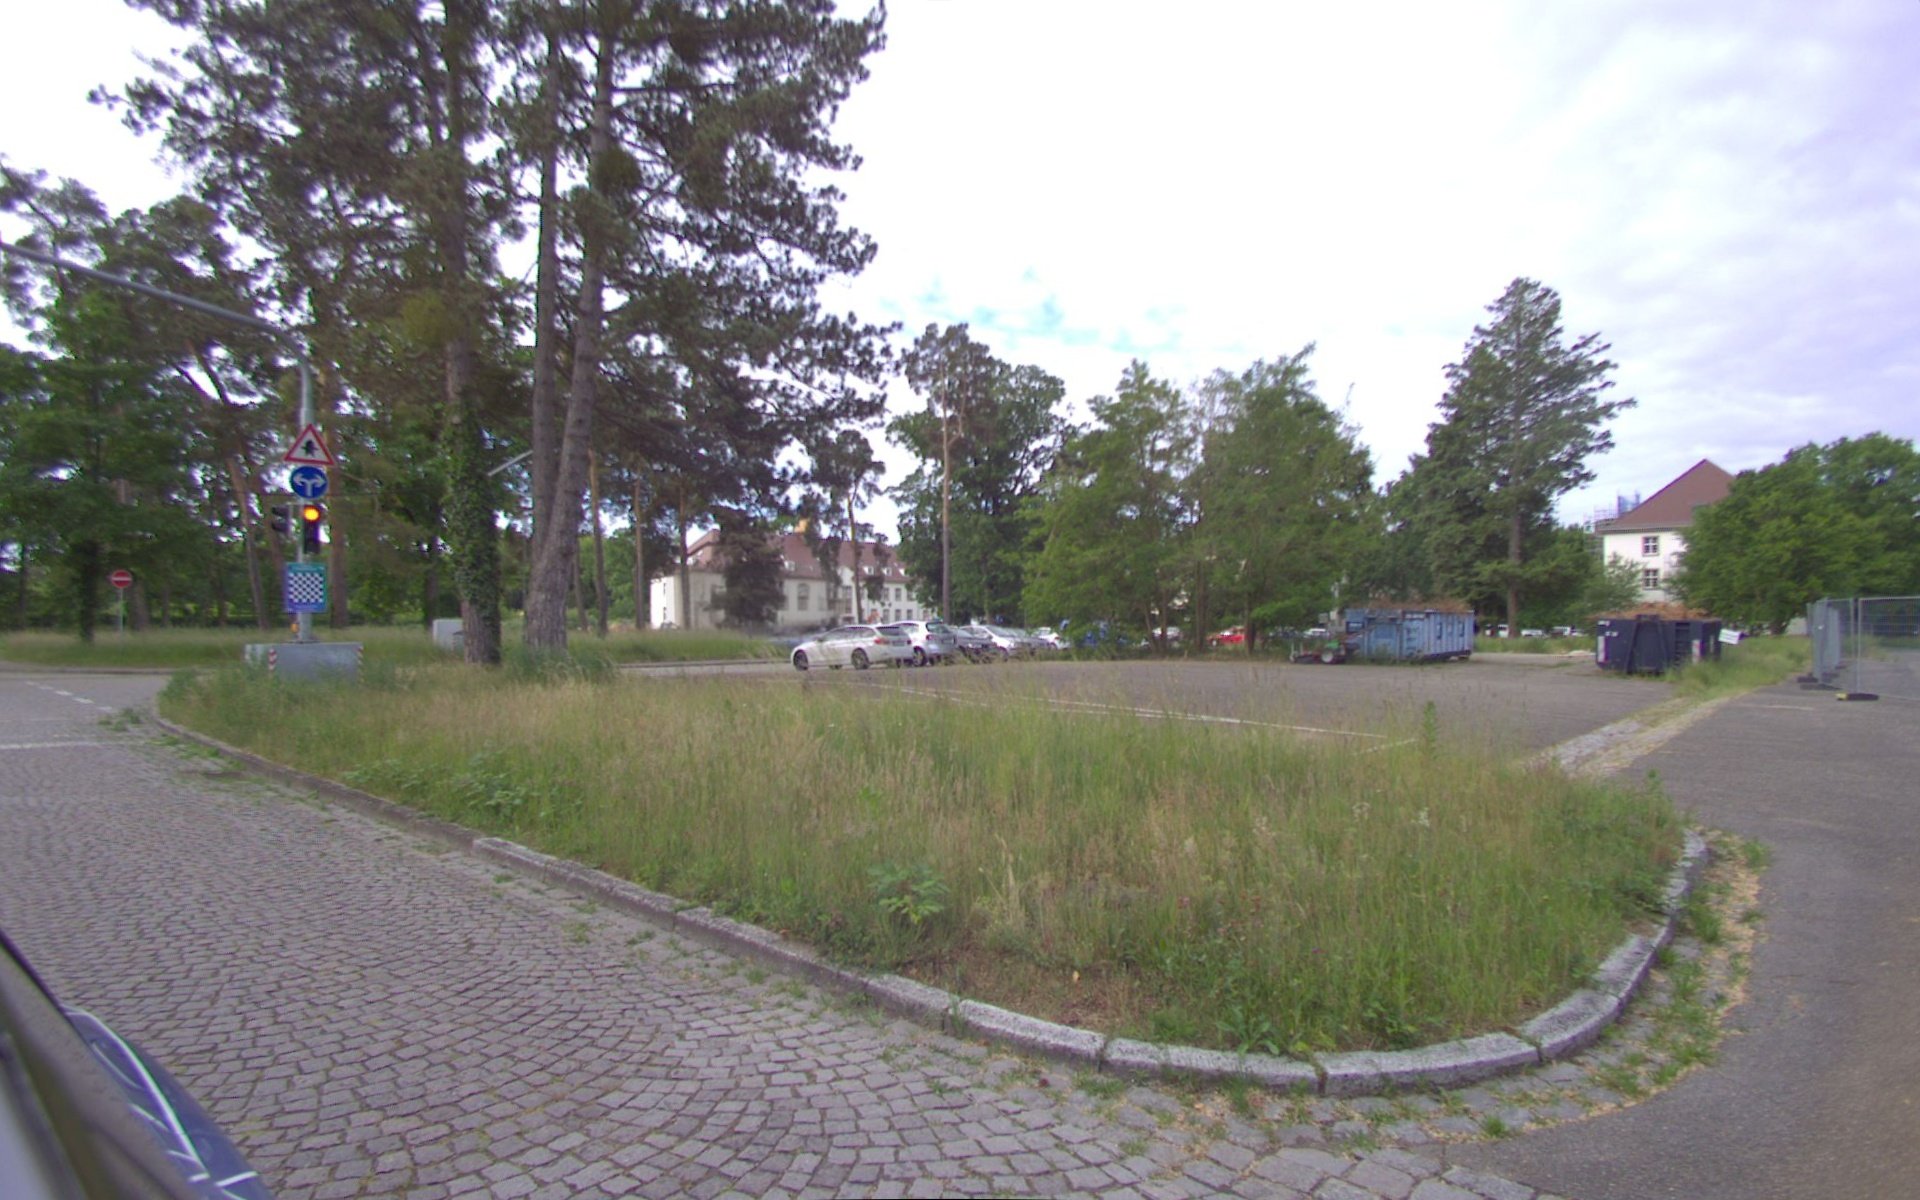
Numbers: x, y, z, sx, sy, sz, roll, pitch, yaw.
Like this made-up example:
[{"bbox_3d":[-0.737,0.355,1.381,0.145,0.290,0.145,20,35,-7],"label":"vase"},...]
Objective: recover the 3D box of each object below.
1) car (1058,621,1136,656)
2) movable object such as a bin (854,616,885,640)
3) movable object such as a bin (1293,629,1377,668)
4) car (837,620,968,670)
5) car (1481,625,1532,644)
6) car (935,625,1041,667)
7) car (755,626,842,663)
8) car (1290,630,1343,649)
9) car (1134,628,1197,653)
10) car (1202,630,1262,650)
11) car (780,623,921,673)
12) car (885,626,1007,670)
[{"bbox_3d":[8.509,2.372,63.215,4.608,2.021,1.884,0,-1,45],"label":"car"},{"bbox_3d":[-14.667,4.539,163.624,2.022,3.799,5.468,1,-3,-44],"label":"movable object such as a bin"},{"bbox_3d":[11.556,1.480,31.238,2.268,1.134,0.847,-1,-1,41],"label":"movable object such as a bin"},{"bbox_3d":[-2.027,1.577,35.043,4.369,1.610,1.849,-4,-4,37],"label":"car"},{"bbox_3d":[65.691,4.185,121.651,5.147,2.165,1.751,0,-2,40],"label":"car"},{"bbox_3d":[1.047,1.801,39.337,3.959,1.481,1.564,-5,-4,40],"label":"car"},{"bbox_3d":[-7.346,1.975,45.830,4.012,1.439,1.674,2,0,41],"label":"car"},{"bbox_3d":[31.069,3.460,88.329,1.699,1.545,4.104,2,-2,-40],"label":"car"},{"bbox_3d":[14.174,2.793,69.919,1.630,1.605,4.090,2,-2,-45],"label":"car"},{"bbox_3d":[20.839,3.045,77.605,4.089,1.455,1.701,0,-2,45],"label":"car"},{"bbox_3d":[-3.656,1.597,33.120,4.751,1.499,1.841,-4,-5,40],"label":"car"},{"bbox_3d":[-0.569,1.776,37.238,4.446,1.435,1.699,-5,-4,41],"label":"car"}]
